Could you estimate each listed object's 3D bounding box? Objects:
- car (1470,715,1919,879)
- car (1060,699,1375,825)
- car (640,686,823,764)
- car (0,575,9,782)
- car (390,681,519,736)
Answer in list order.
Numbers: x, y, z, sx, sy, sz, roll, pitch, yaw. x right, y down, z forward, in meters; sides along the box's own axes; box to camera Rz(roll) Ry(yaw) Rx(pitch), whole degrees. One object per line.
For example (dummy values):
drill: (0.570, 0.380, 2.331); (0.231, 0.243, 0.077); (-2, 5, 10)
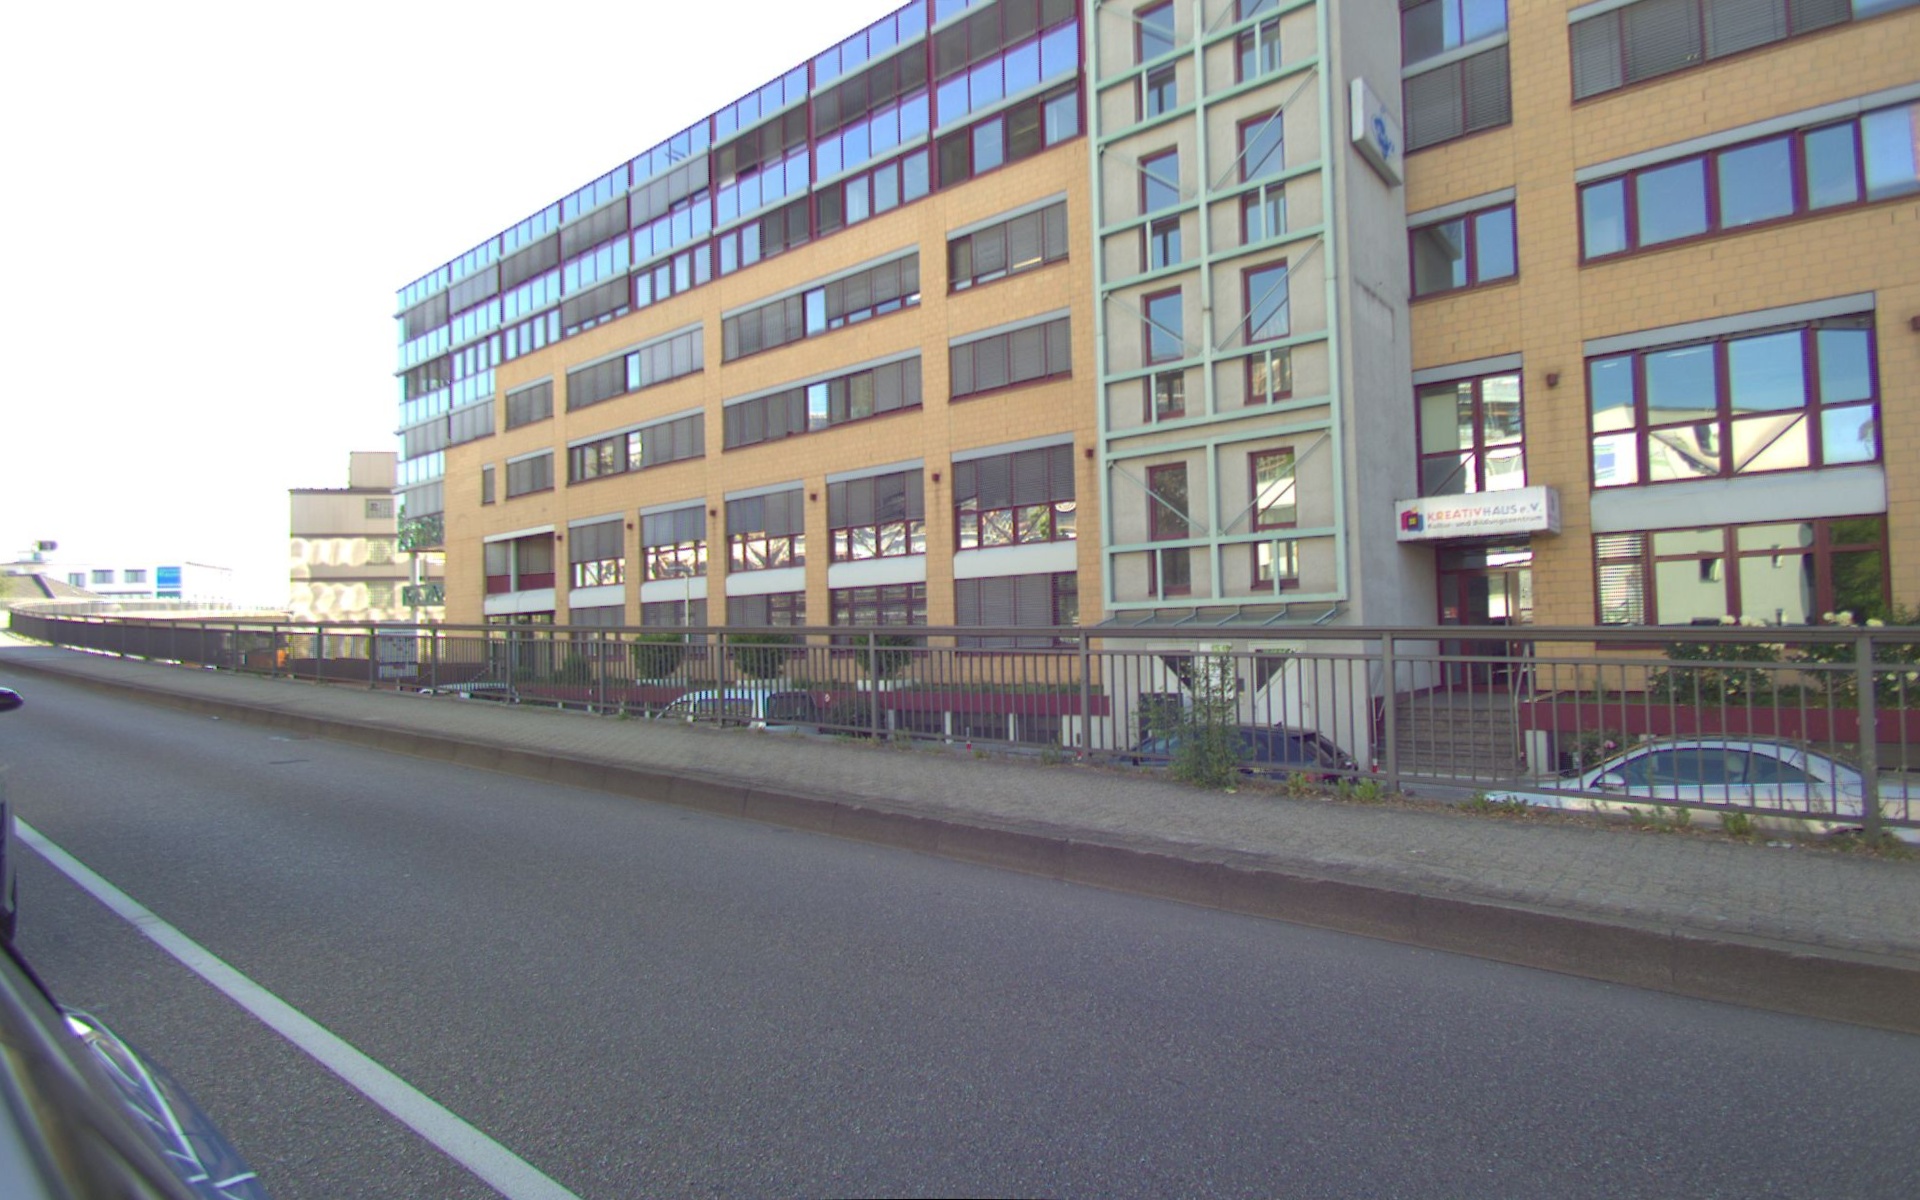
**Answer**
car: (7.679, 1.877, 10.206); (4.254, 1.175, 1.704); (-3, -4, 40)
car: (3.363, 2.062, 13.596); (3.805, 1.279, 1.560); (-3, -4, 40)
car: (-4.600, 2.415, 20.126); (3.805, 1.279, 1.560); (-3, -4, 40)
car: (-5.850, 0.773, 4.659); (3.998, 1.660, 1.726); (-3, -4, 41)
car: (-13.826, 2.916, 27.626); (3.805, 1.279, 1.744); (-3, -4, 40)
